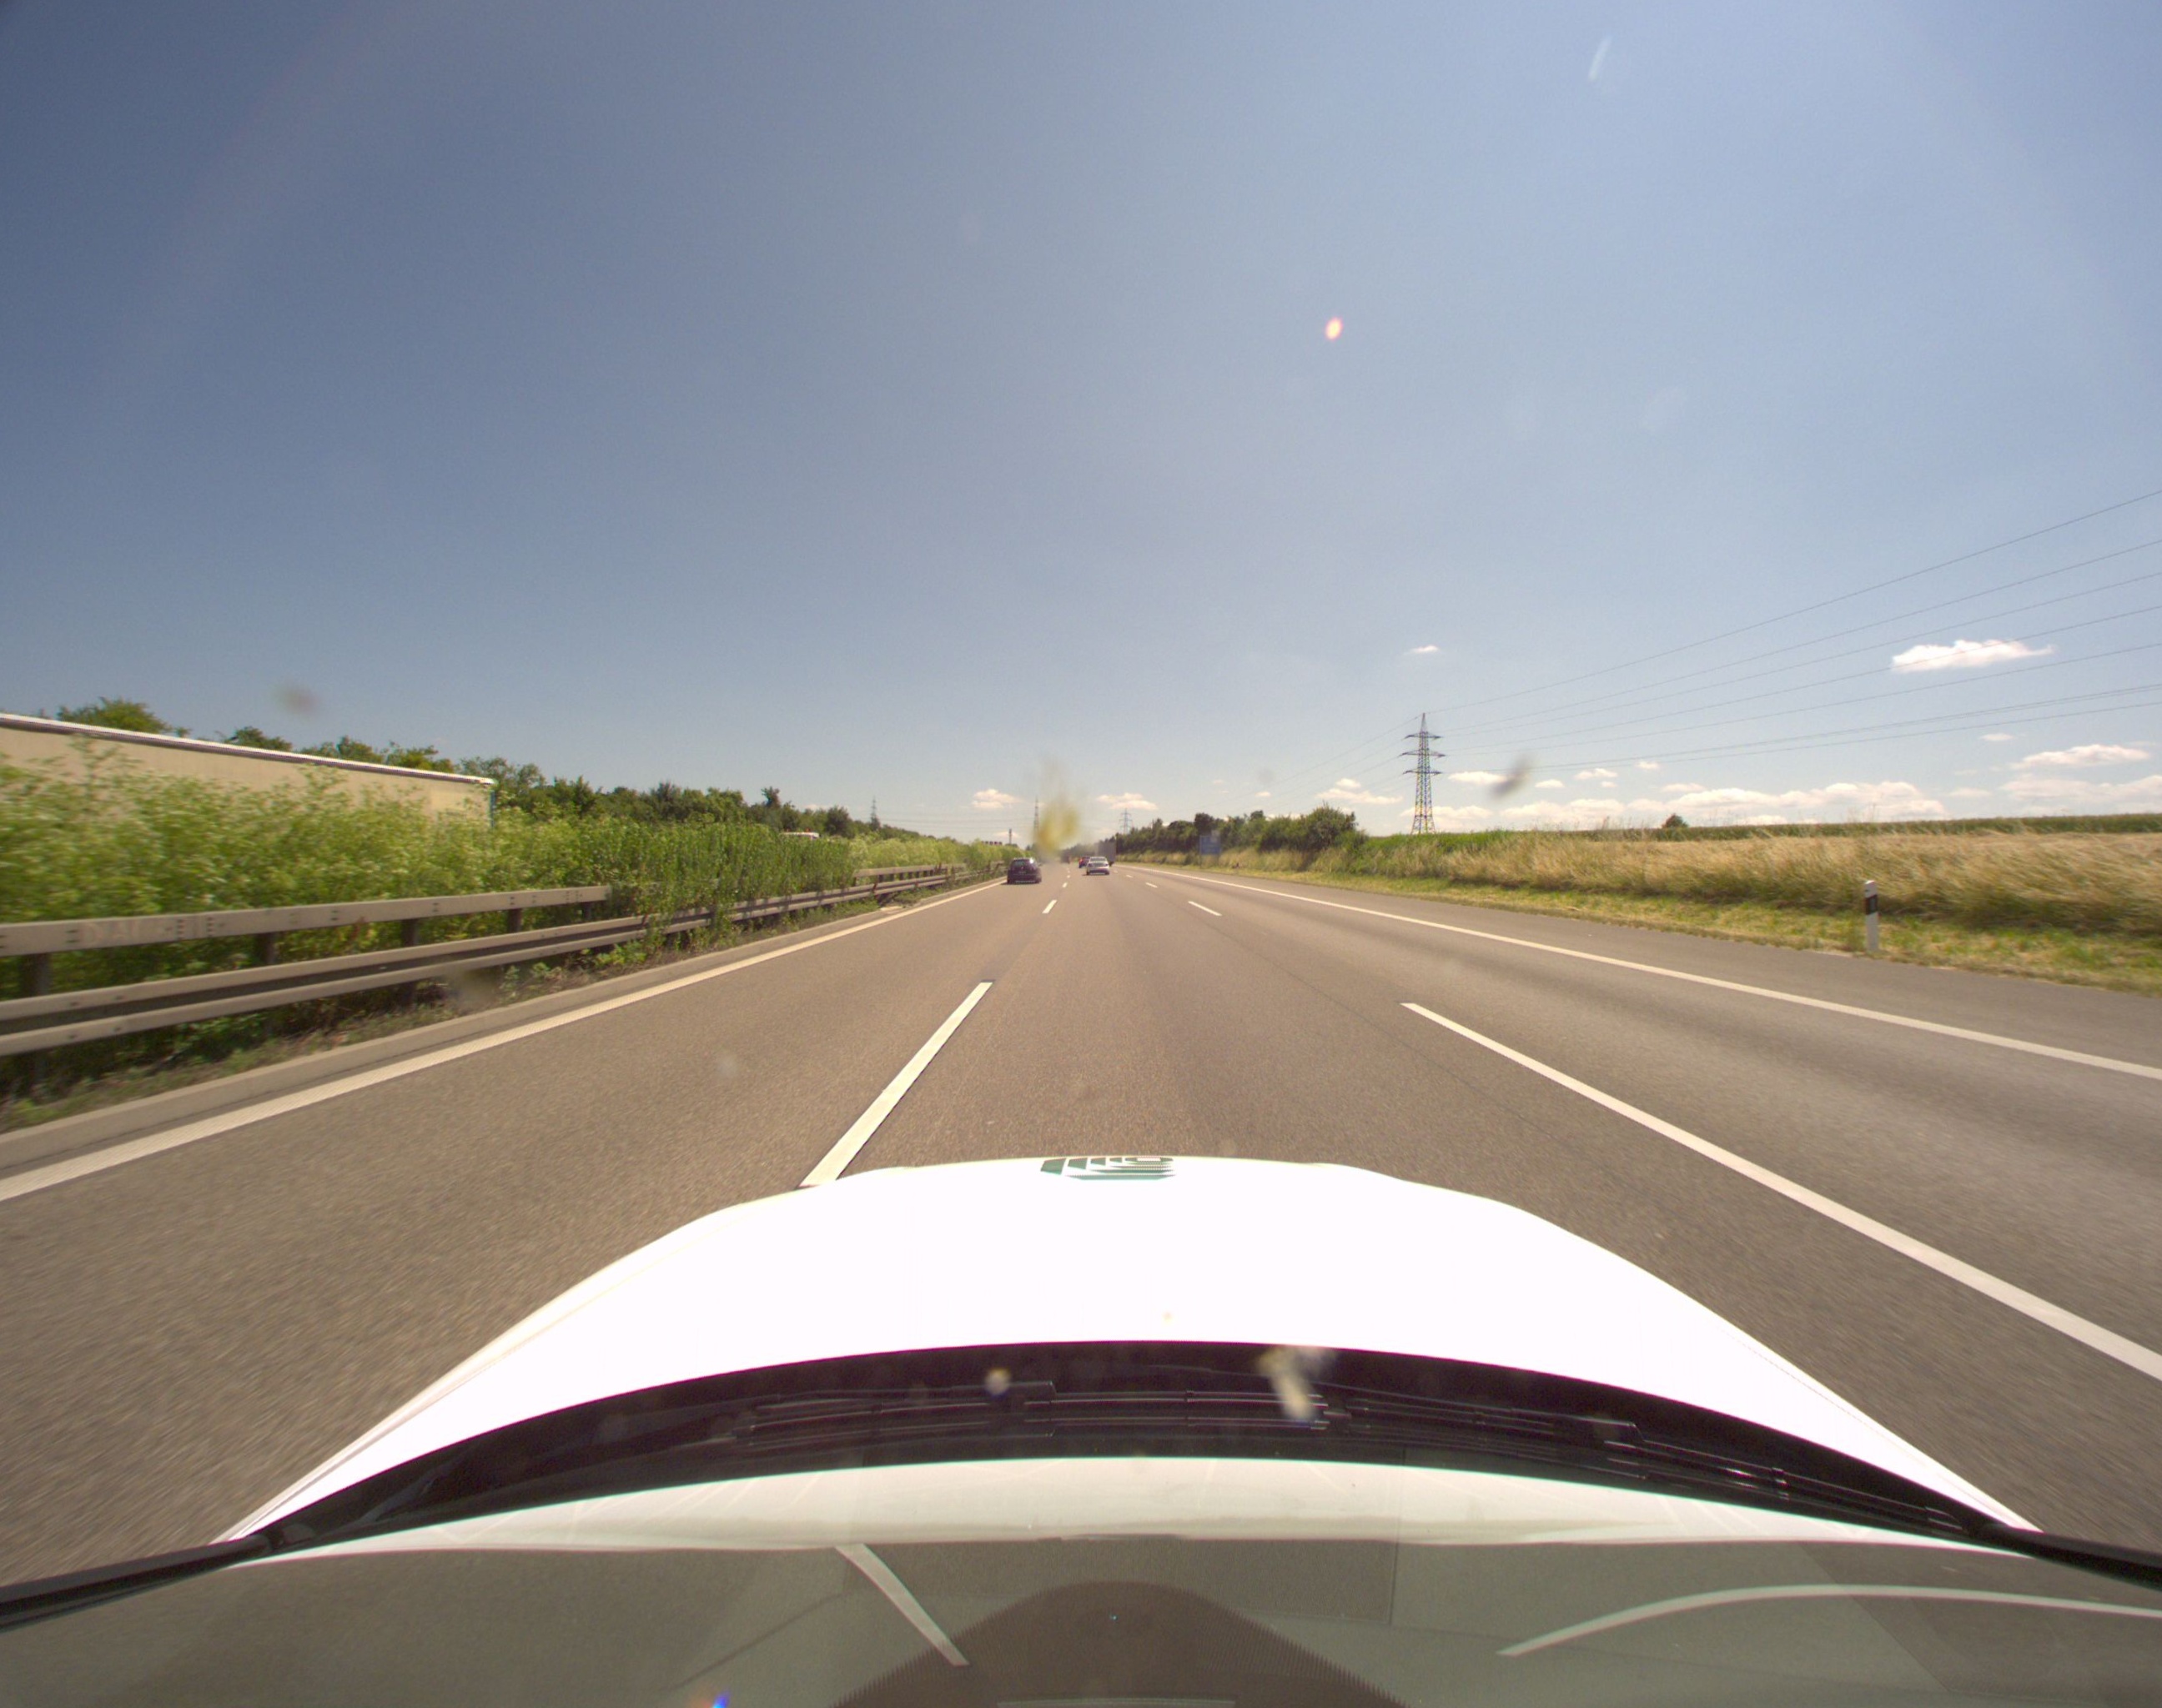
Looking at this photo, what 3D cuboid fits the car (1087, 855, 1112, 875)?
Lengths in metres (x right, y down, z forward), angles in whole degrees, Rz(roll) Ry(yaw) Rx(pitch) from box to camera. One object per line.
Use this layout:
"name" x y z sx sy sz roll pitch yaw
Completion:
"car" 1.409 0.832 64.406 1.814 1.541 3.912 -1 0 -1

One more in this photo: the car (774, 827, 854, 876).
"car" -19.607 -0.162 60.482 2.783 3.352 8.799 -1 0 1

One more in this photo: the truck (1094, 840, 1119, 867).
"truck" 3.732 0.020 122.822 3.212 3.924 9.054 -1 -1 -1

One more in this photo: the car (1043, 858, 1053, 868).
"car" -6.949 1.881 170.001 1.988 1.860 3.997 -1 0 -2

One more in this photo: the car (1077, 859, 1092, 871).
"car" 0.424 1.396 103.676 1.833 1.541 3.914 -1 0 0

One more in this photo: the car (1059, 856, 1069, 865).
"car" -3.618 1.390 171.430 1.898 1.926 3.995 -1 0 -4

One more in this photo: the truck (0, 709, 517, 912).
"truck" -19.943 -0.729 18.143 2.664 3.518 17.040 -1 0 1

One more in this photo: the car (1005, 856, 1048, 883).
"car" -3.054 0.836 45.998 1.748 1.429 4.006 -1 0 6
